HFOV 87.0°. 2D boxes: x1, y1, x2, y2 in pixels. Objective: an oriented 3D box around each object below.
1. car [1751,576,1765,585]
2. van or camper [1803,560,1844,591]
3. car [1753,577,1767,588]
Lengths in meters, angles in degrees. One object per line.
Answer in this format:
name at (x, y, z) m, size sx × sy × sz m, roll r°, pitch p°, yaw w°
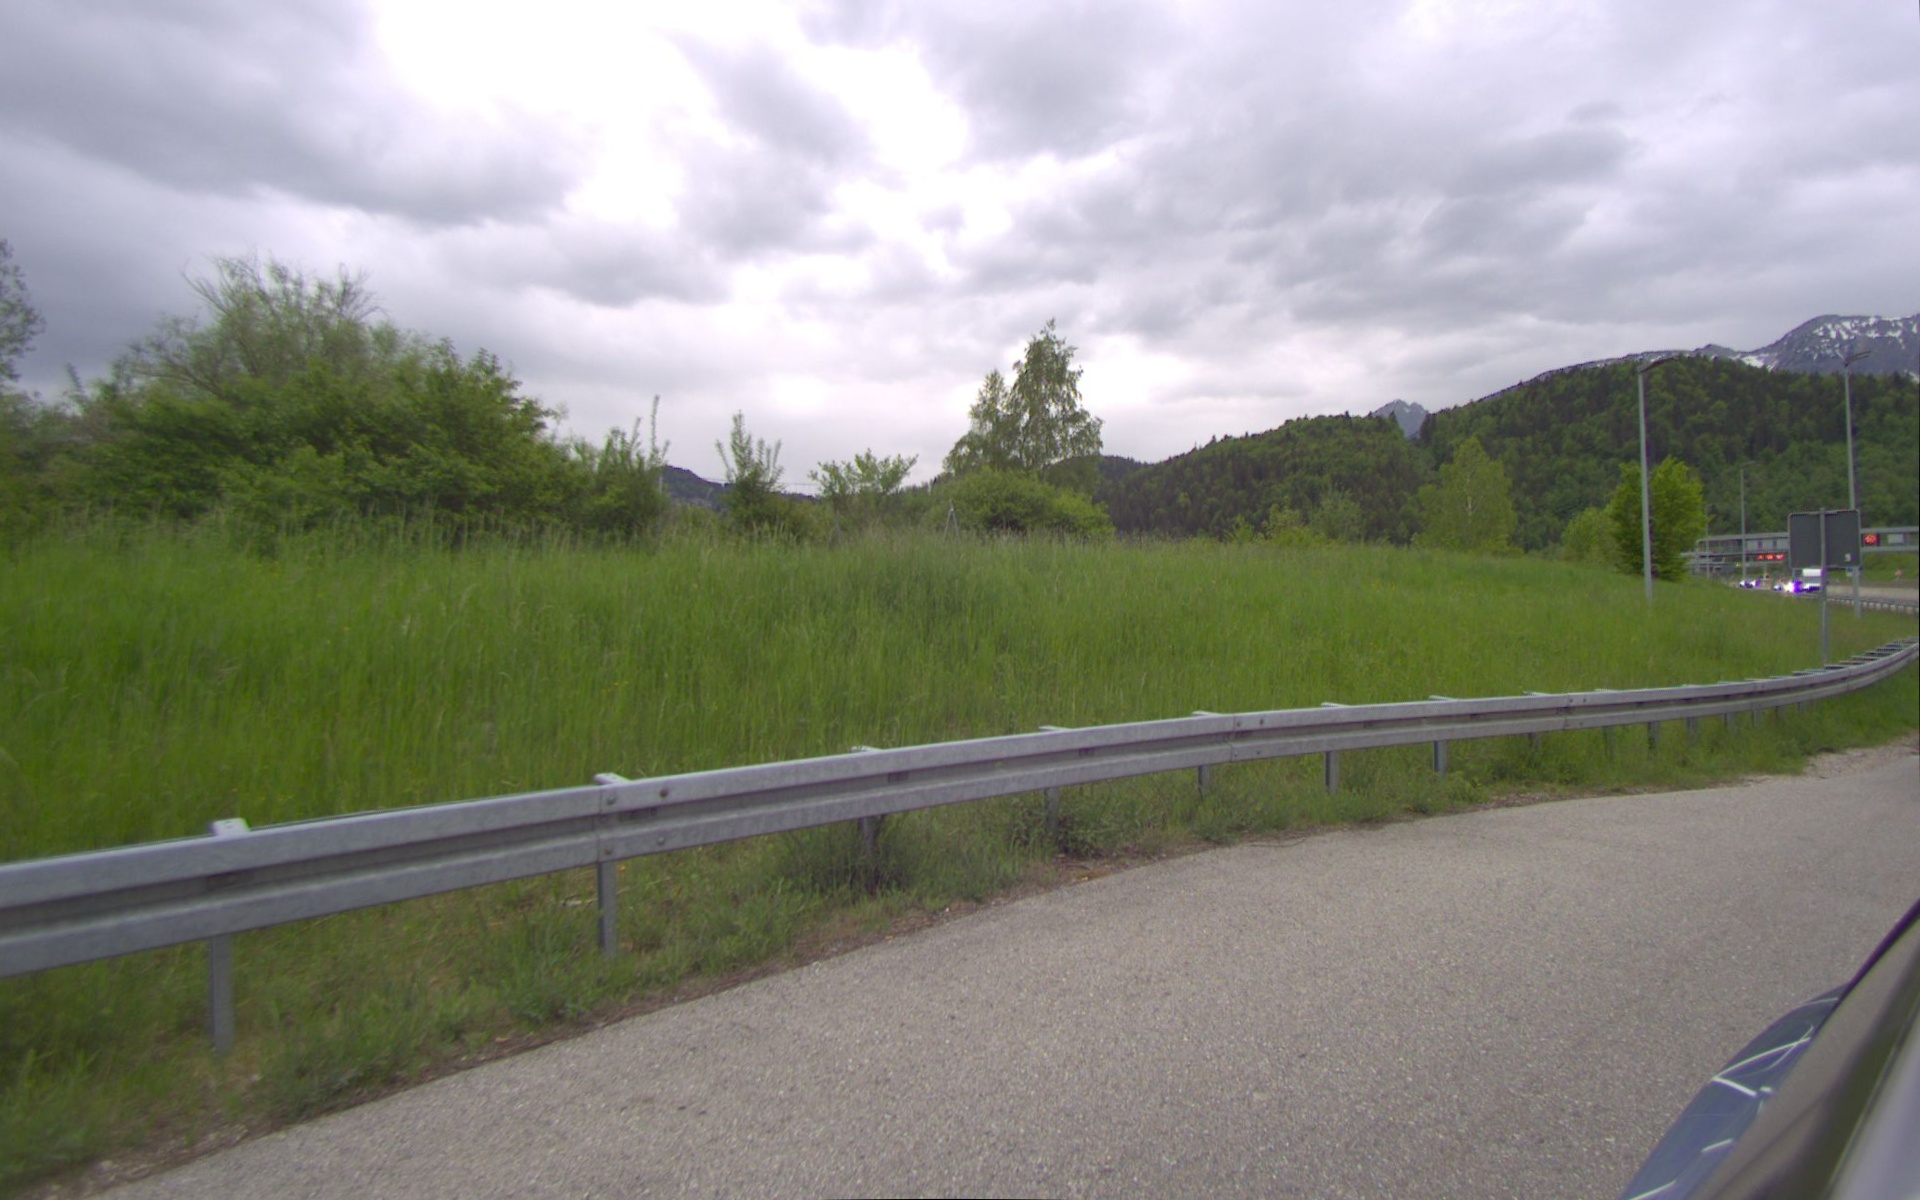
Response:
car at (142.949, -3.467, 181.300) m, size 1.710 × 1.659 × 4.295 m, roll 1°, pitch 1°, yaw 34°
van or camper at (98.009, -2.773, 115.004) m, size 2.565 × 3.434 × 7.269 m, roll 1°, pitch 1°, yaw 33°
car at (143.743, -3.142, 181.864) m, size 1.858 × 1.895 × 3.946 m, roll 1°, pitch 1°, yaw 37°
